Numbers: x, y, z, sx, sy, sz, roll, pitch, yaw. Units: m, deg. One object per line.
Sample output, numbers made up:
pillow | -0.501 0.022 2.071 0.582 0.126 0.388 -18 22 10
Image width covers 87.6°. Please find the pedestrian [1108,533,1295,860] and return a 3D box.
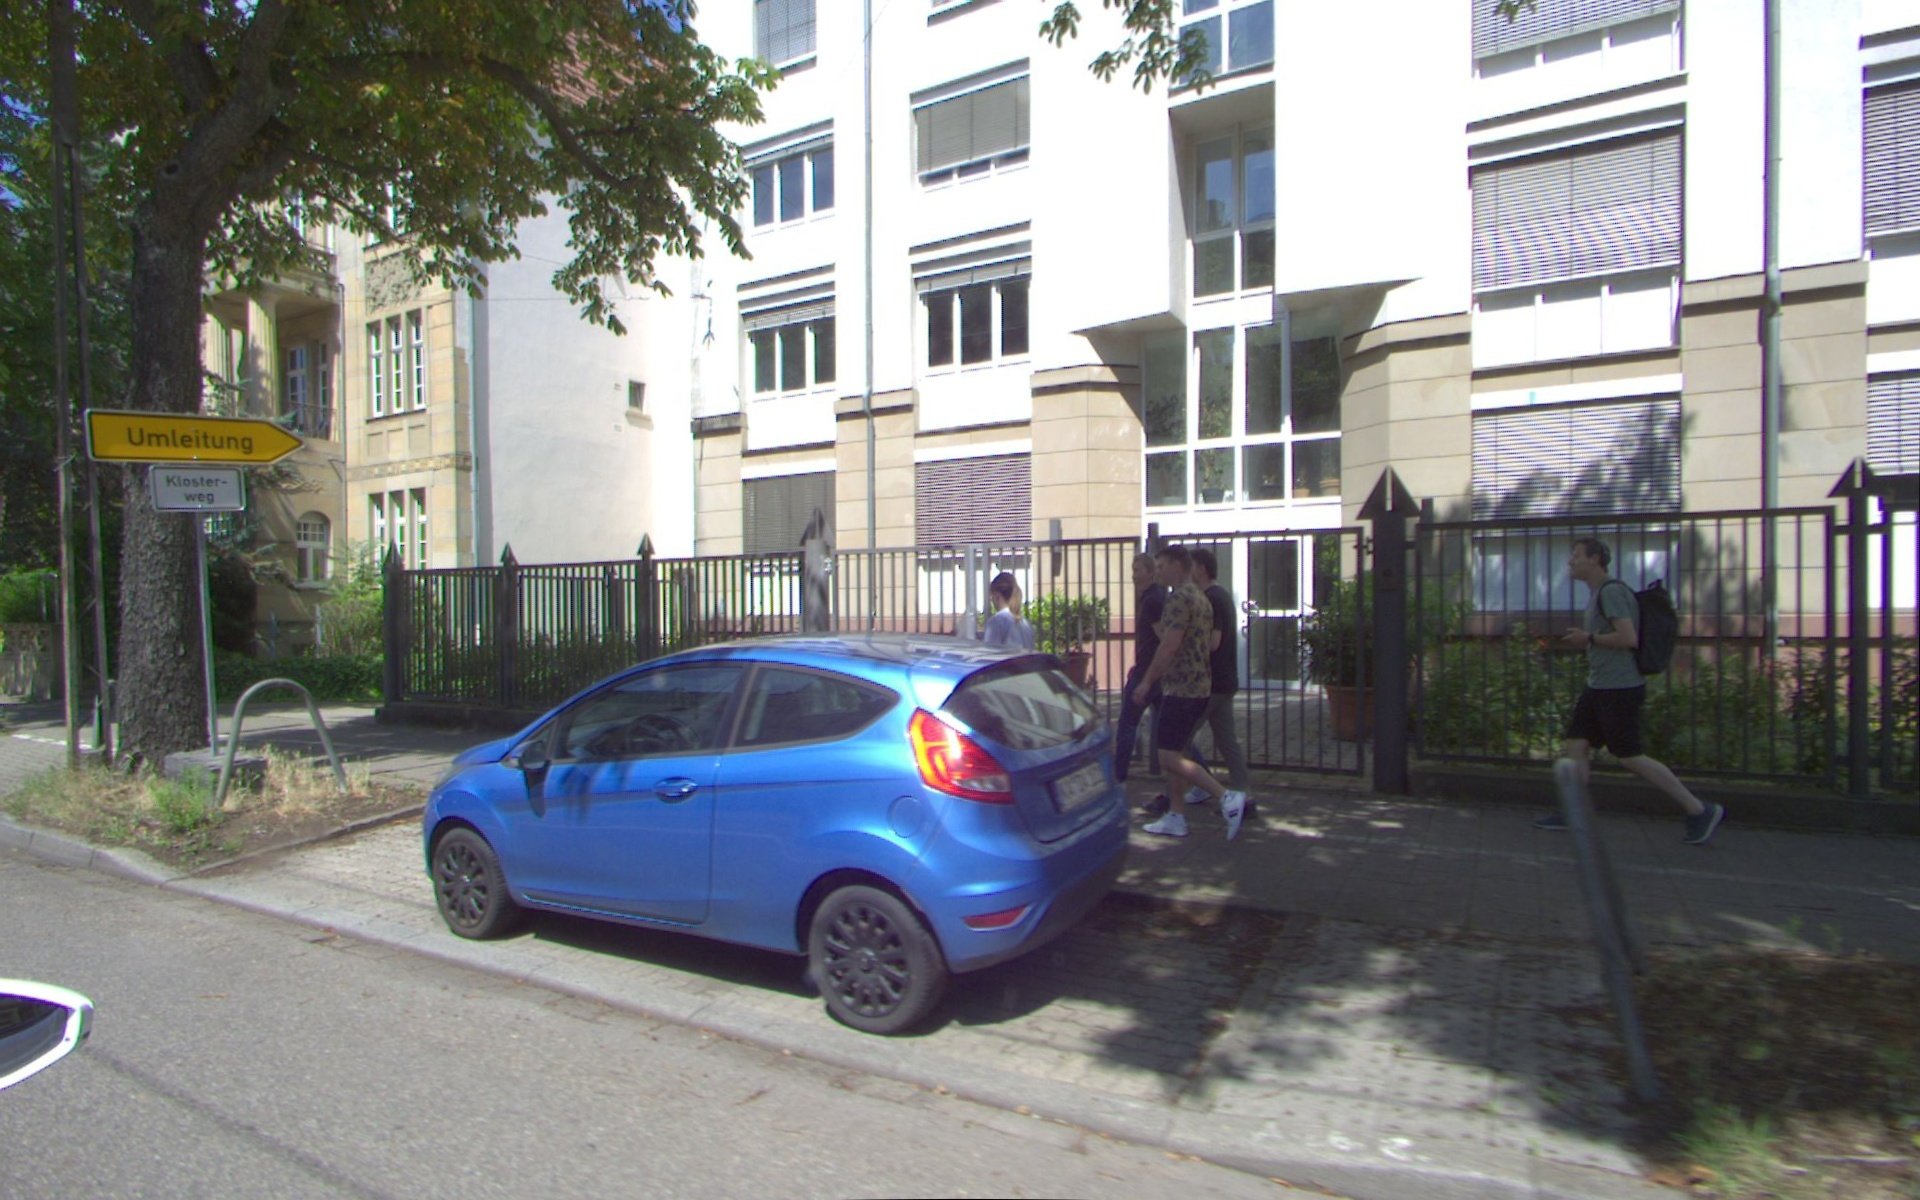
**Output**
pedestrian | 1.464 0.537 6.039 0.933 1.800 0.703 0 0 31

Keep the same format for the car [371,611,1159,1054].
car | -1.032 0.821 5.041 3.664 1.463 1.675 0 2 29

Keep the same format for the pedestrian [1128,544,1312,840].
pedestrian | 1.729 0.560 6.619 1.036 1.785 0.787 0 0 28

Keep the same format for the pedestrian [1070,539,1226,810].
pedestrian | 1.381 0.512 7.322 0.962 1.835 0.660 0 0 30

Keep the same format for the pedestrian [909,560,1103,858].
pedestrian | 0.293 0.617 6.197 0.959 1.673 0.765 0 0 31

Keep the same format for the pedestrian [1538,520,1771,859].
pedestrian | 4.051 0.486 5.940 1.067 1.821 0.683 0 0 30
